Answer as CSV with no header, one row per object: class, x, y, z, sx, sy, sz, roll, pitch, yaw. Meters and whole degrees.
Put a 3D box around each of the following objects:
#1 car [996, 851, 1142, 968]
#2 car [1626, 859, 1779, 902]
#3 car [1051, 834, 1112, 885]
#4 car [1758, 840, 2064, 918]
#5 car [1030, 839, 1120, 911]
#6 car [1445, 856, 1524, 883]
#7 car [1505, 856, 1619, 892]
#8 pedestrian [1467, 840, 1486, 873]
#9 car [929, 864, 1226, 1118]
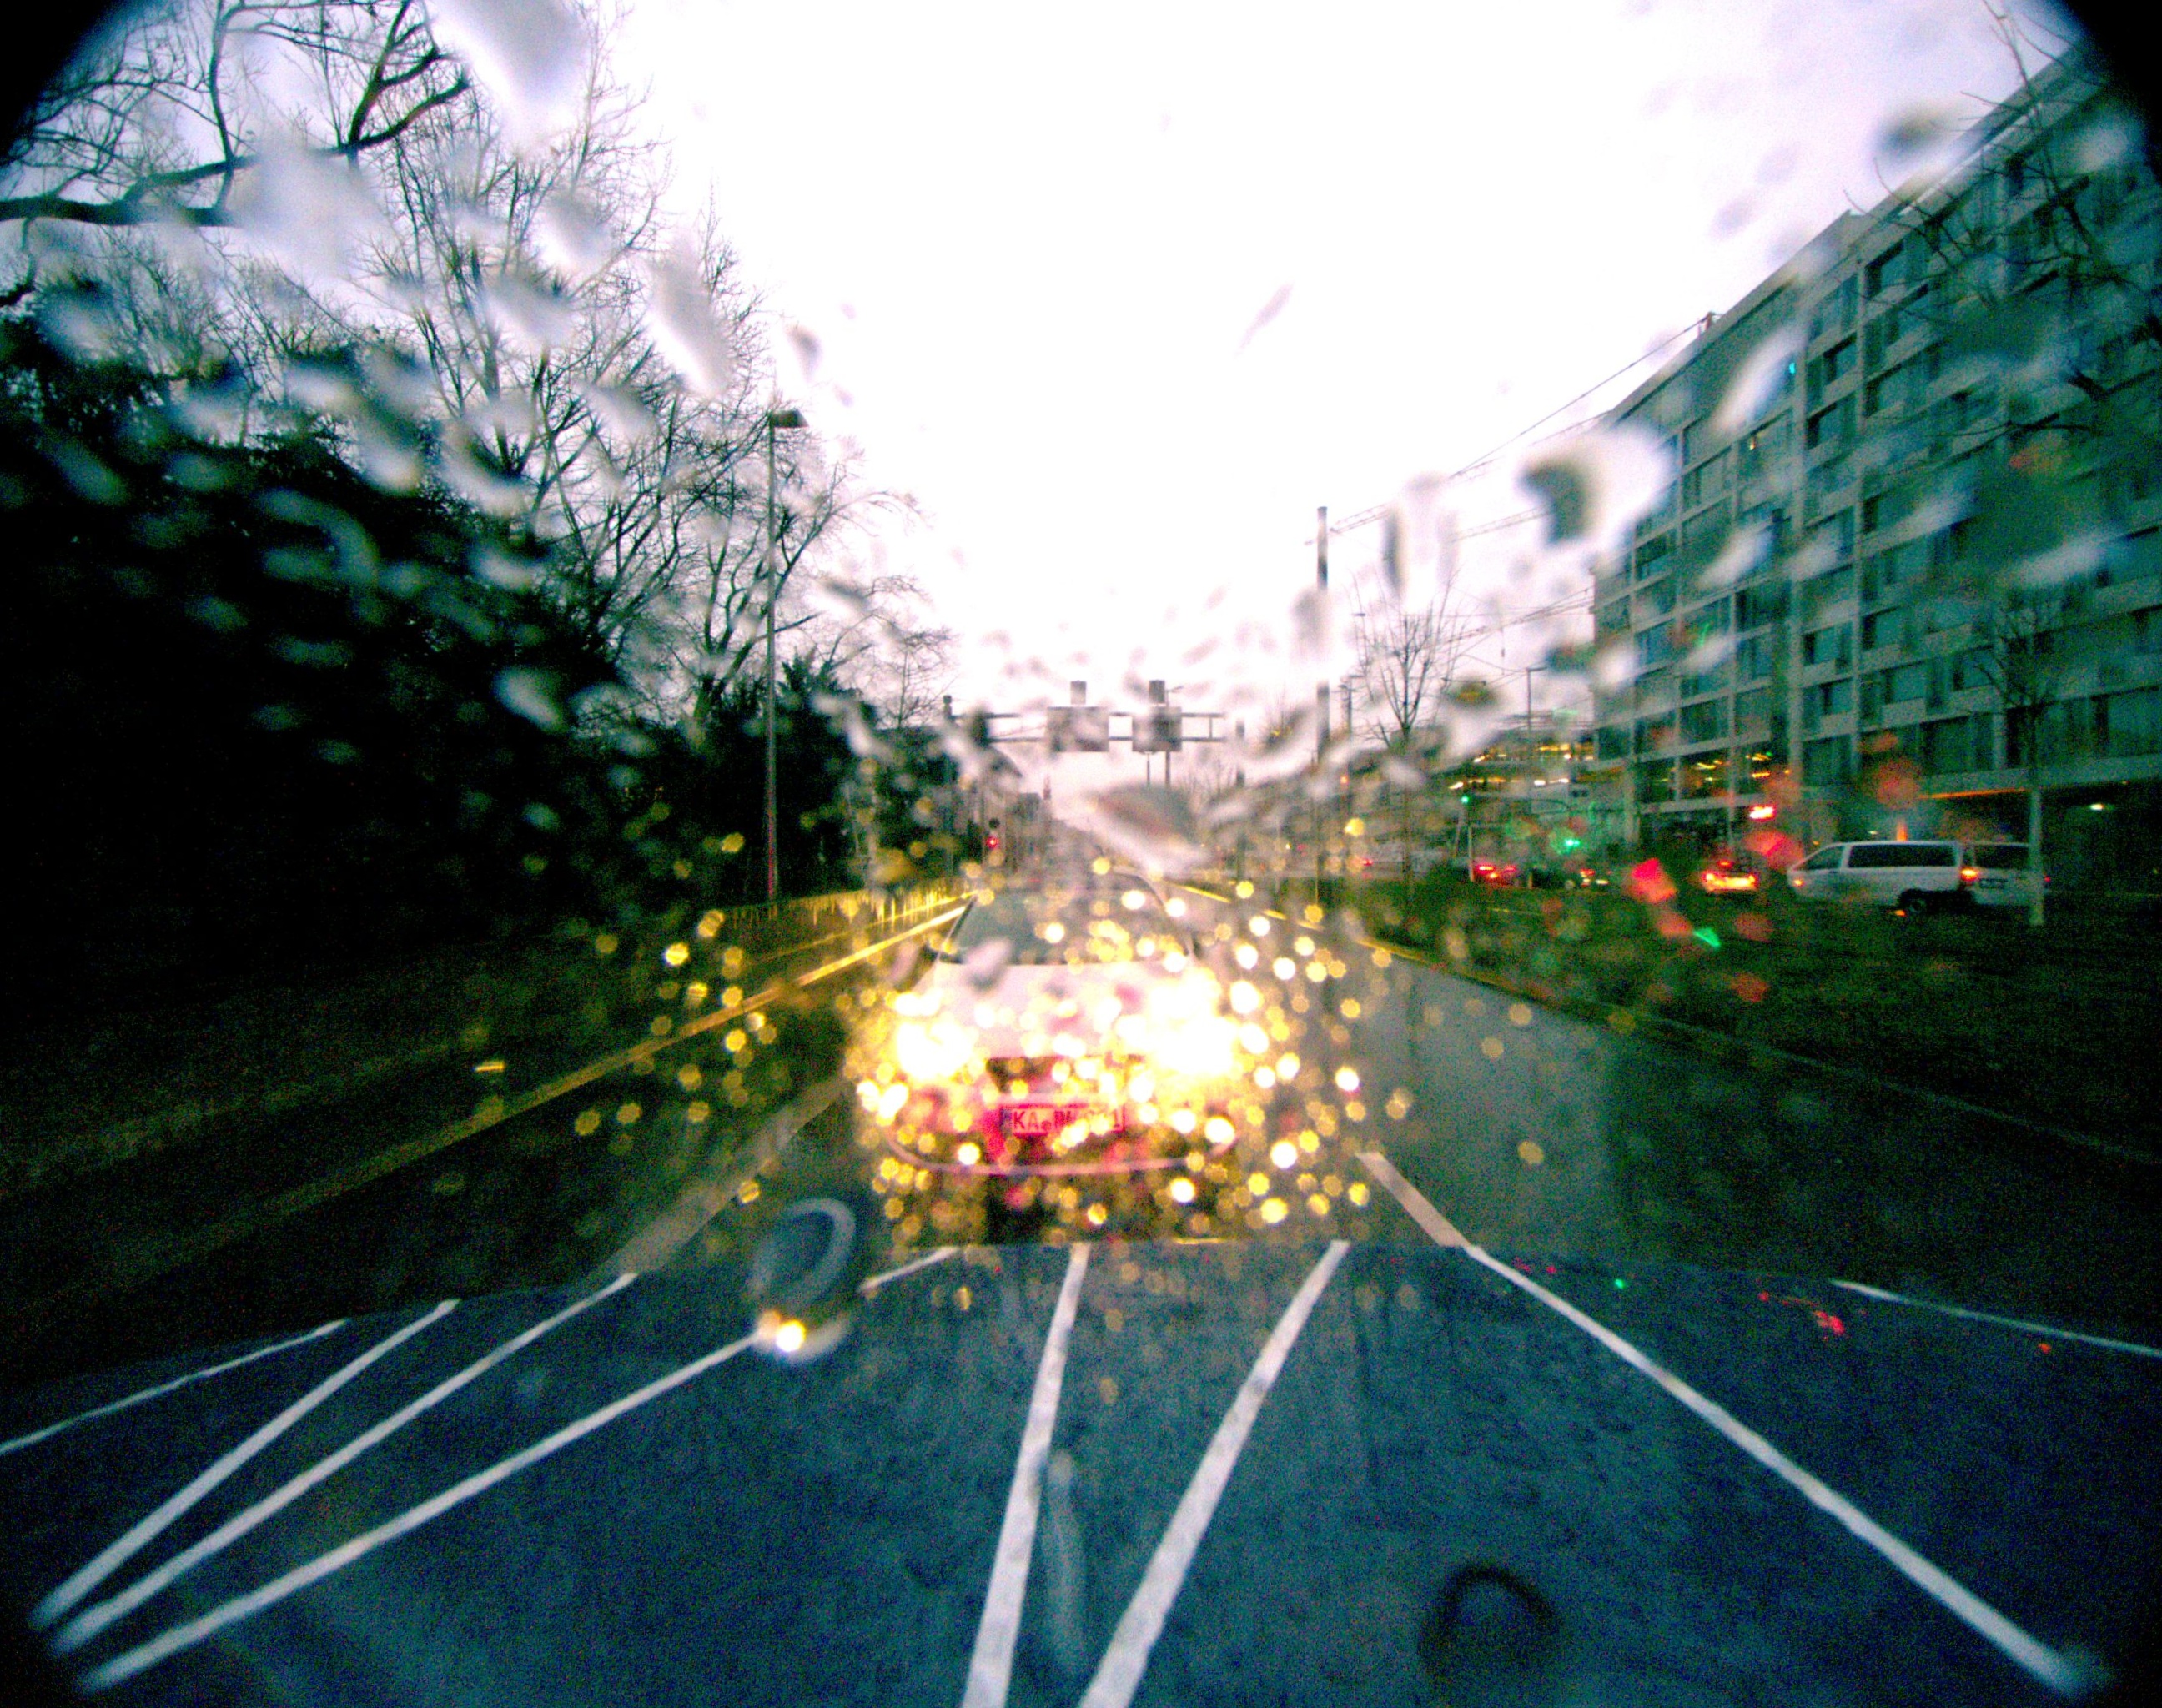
car,-0.219,0.800,13.273,2.073,1.618,4.267,-2,1,-1
car,20.378,0.818,25.147,1.816,1.300,4.000,0,0,1
car,0.034,0.166,27.506,1.998,1.618,4.268,-2,0,0
car,20.012,0.527,18.784,2.086,1.659,5.043,0,0,1
car,-0.105,0.476,20.054,2.073,1.618,4.268,-2,1,1
car,20.195,0.758,38.245,1.816,1.267,3.999,0,0,-1
car,20.266,0.813,32.253,2.111,1.392,4.257,0,0,-1
pedestrian,21.949,0.149,42.146,0.708,1.794,0.771,-1,2,40
car,0.005,0.899,6.918,1.886,1.552,4.171,0,0,1
